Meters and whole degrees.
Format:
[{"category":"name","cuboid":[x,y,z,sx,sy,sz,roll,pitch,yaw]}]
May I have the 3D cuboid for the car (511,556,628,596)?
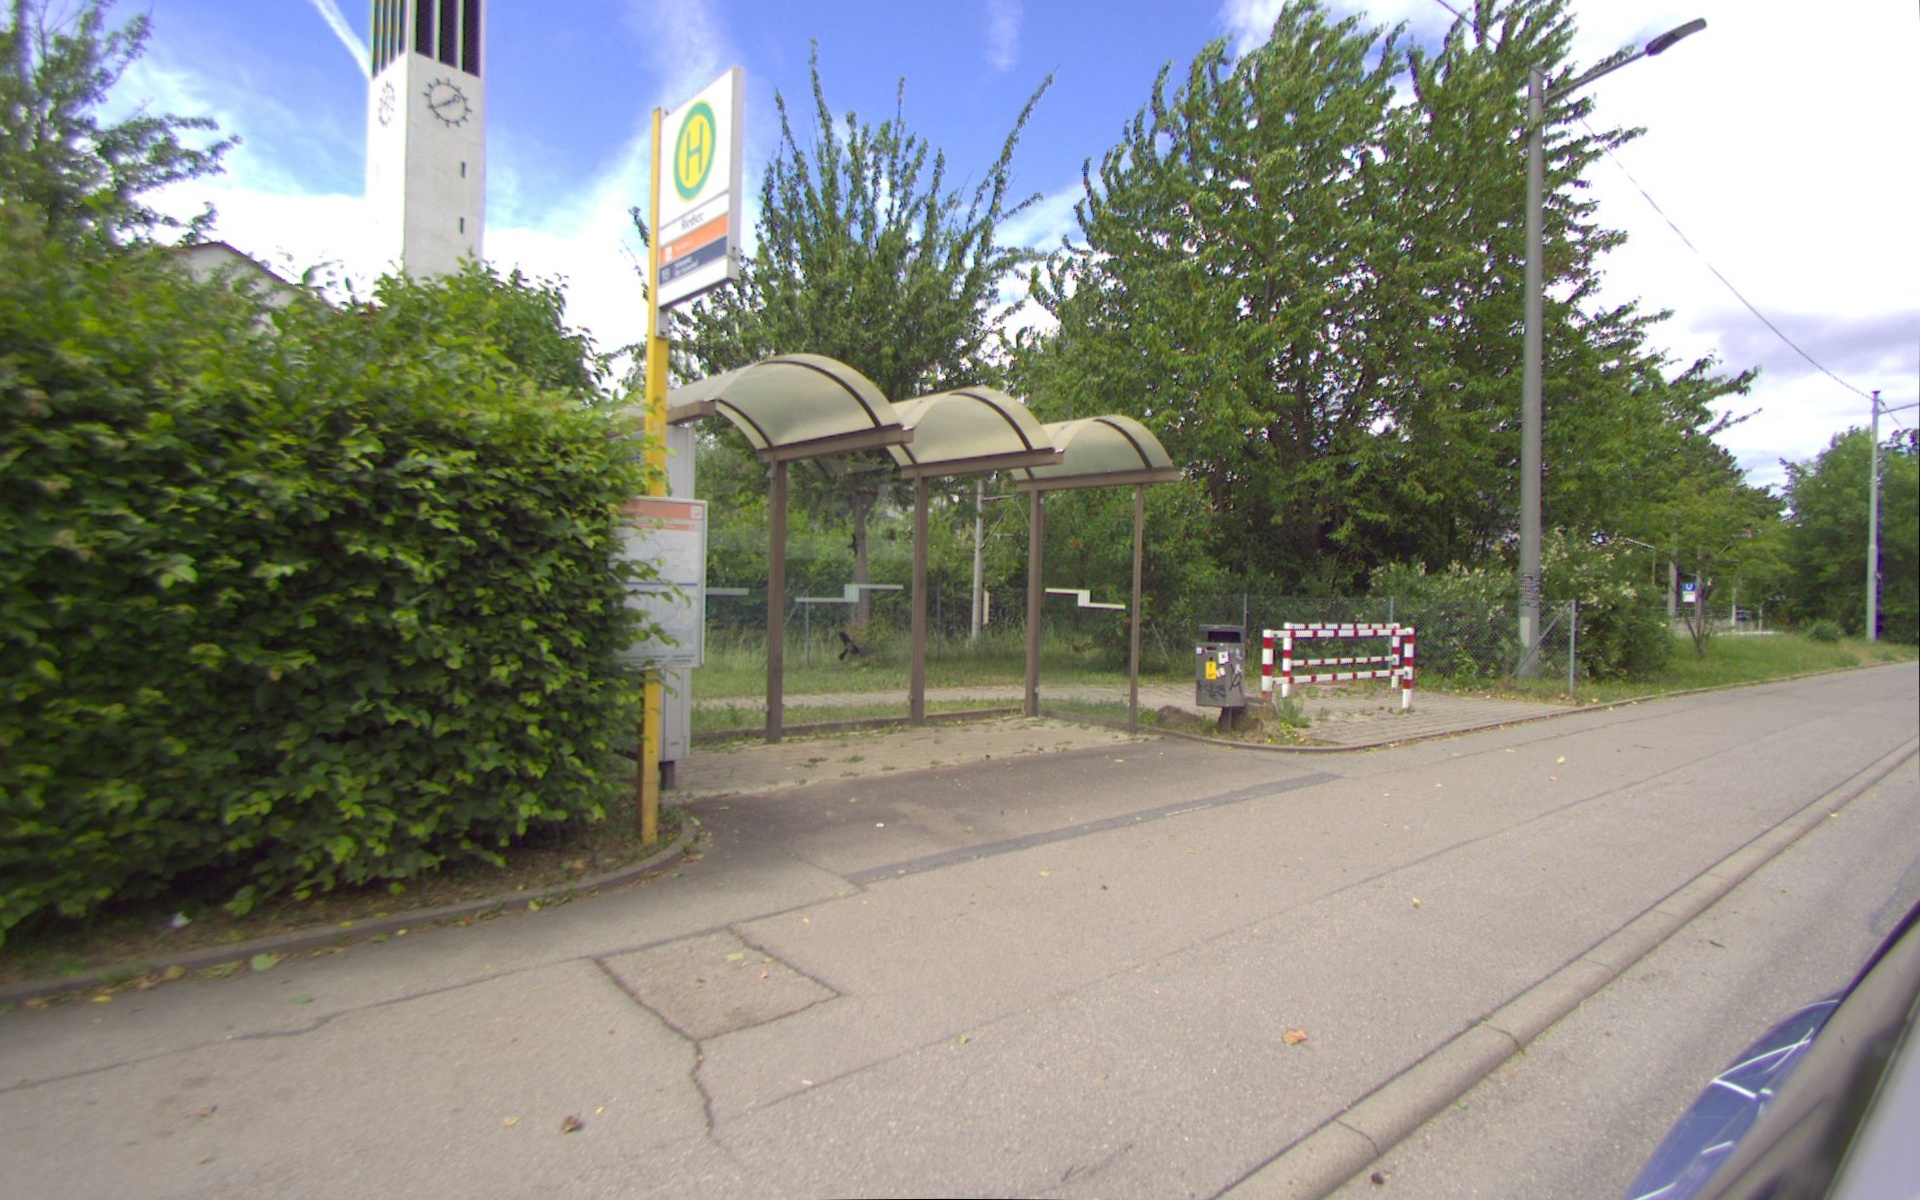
[{"category":"car","cuboid":[-14.433,-0.894,37.397,3.916,1.348,2.004,1,2,-24]}]
